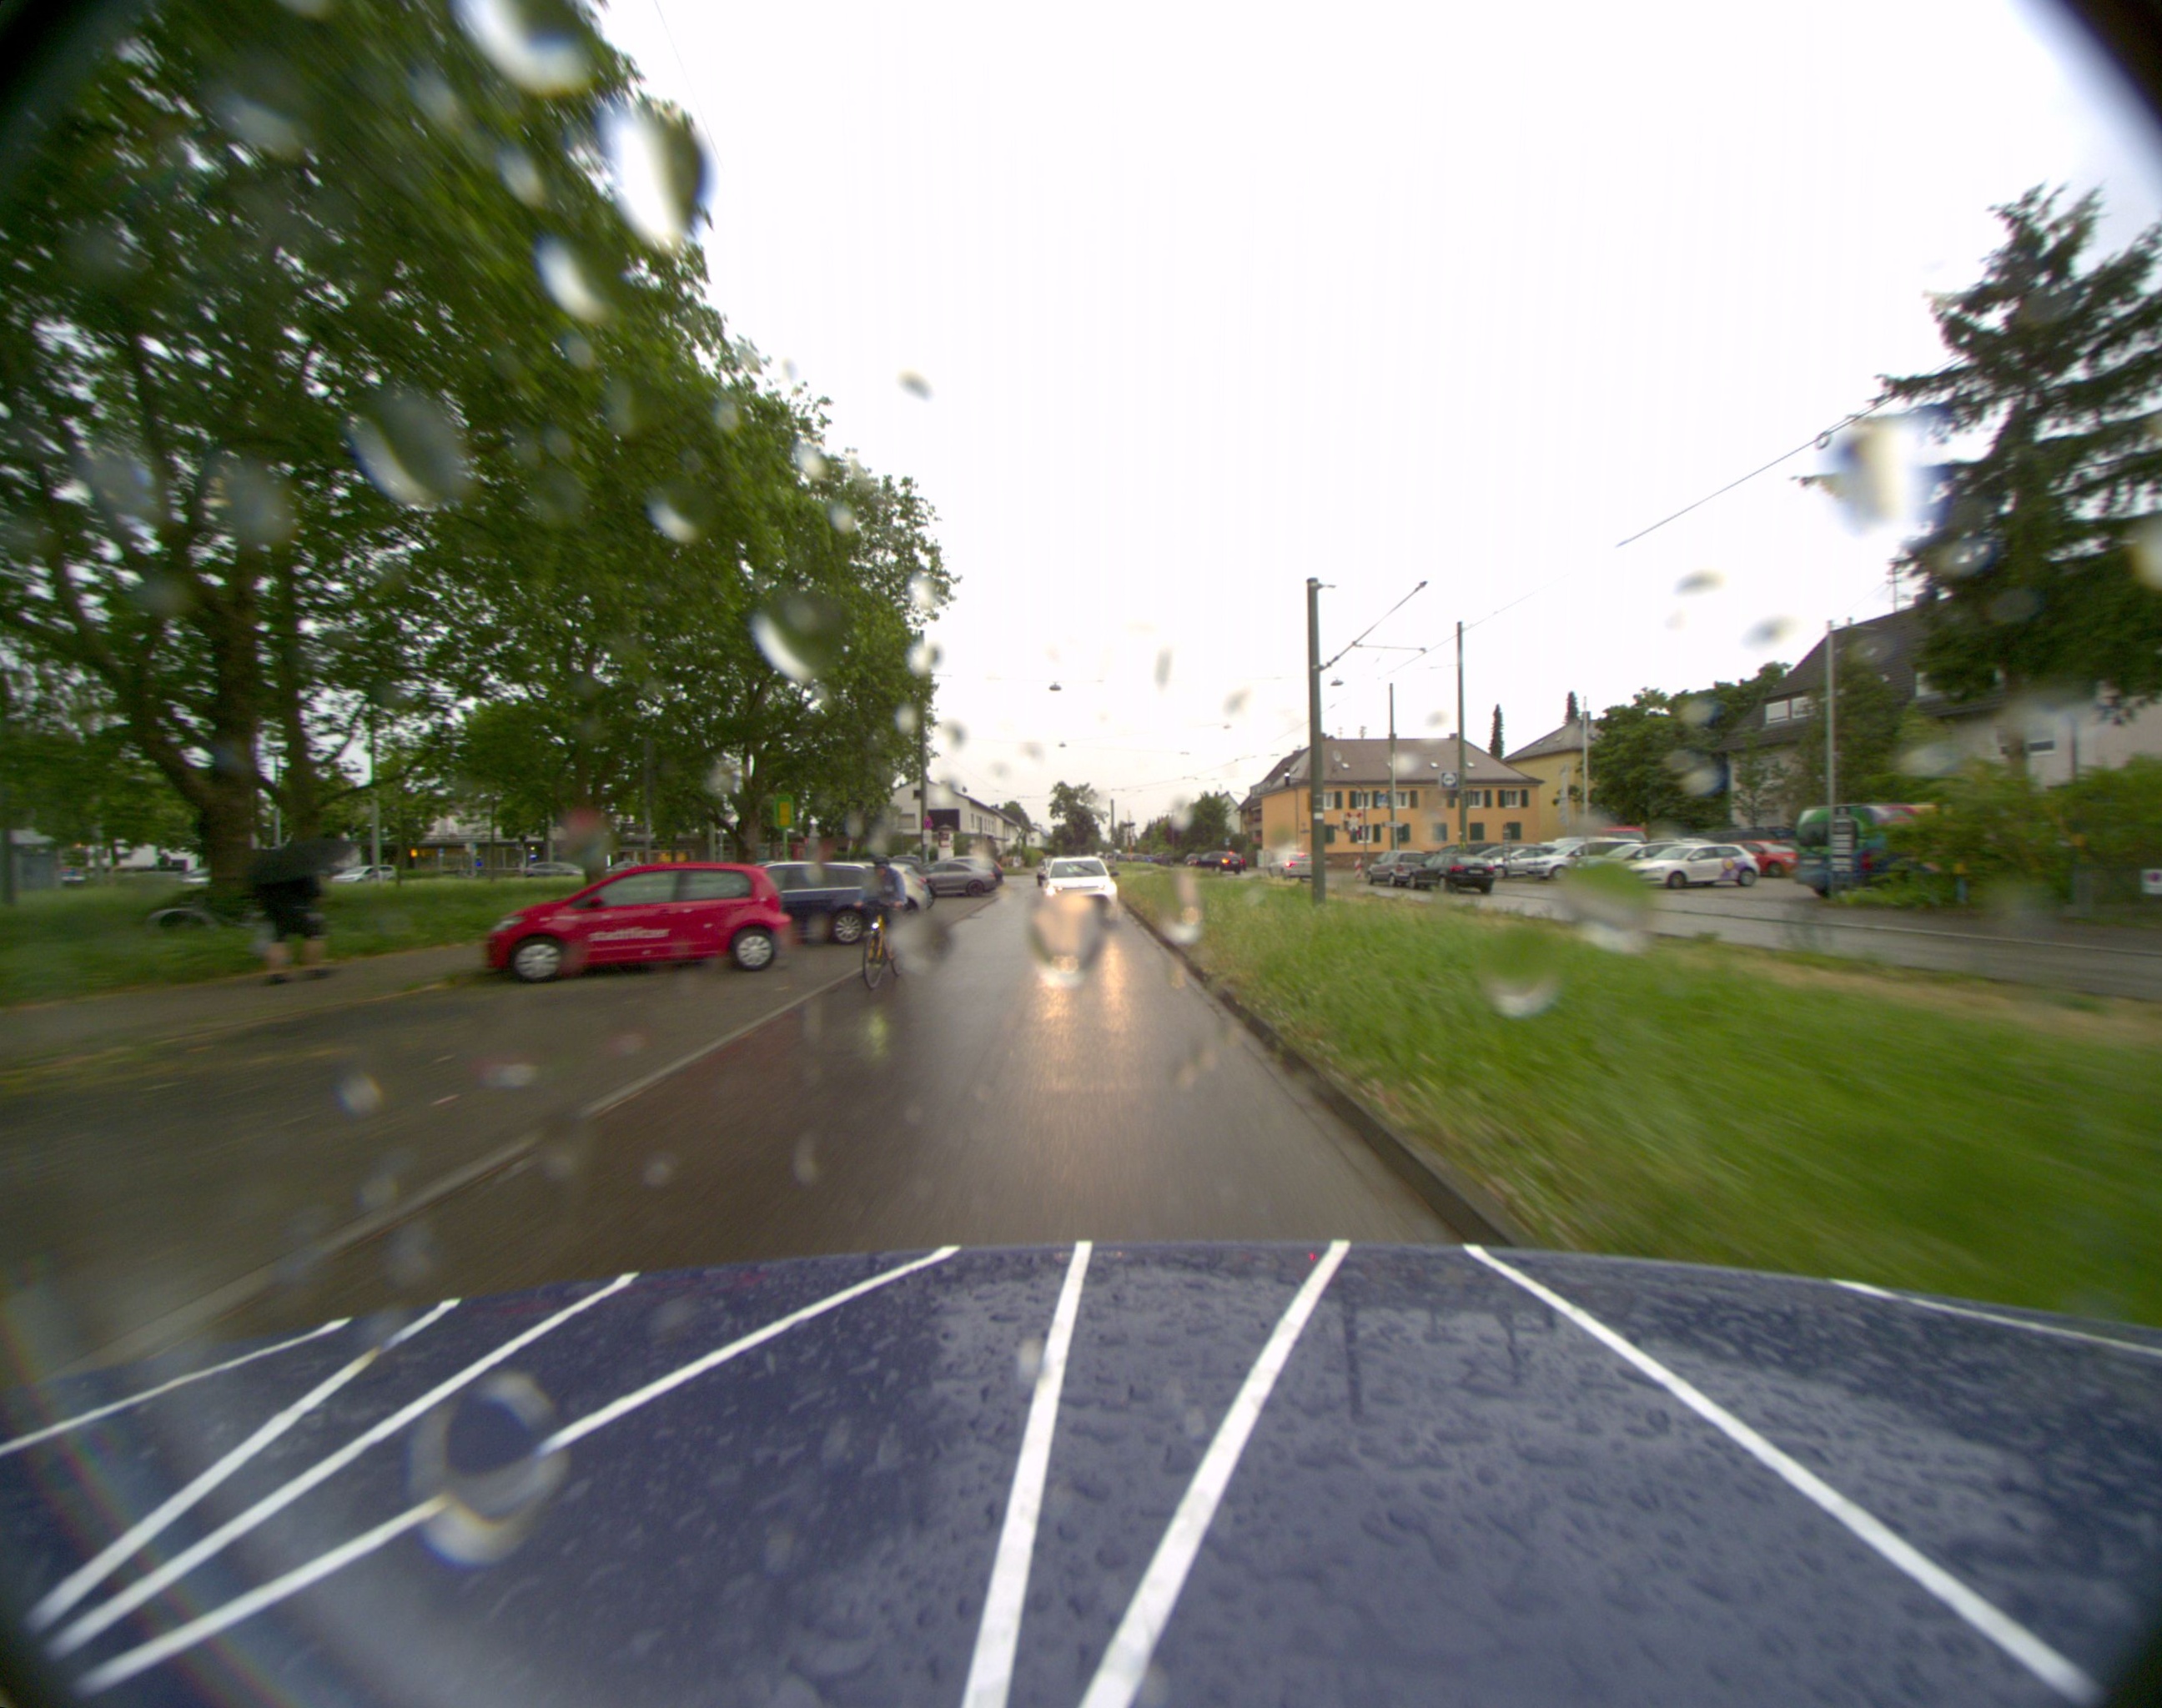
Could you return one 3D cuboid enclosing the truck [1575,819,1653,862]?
[{"bbox_3d":[29.671,-0.708,42.554,1.995,2.259,6.112,0,0,19],"label":"truck"}]

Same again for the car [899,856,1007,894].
[{"bbox_3d":[-5.509,0.872,32.814,4.184,1.467,1.800,-1,0,-30],"label":"car"}]

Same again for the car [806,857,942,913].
[{"bbox_3d":[-6.196,0.879,22.854,3.524,1.497,1.749,1,1,-36],"label":"car"}]

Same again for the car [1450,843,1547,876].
[{"bbox_3d":[20.420,0.251,37.303,4.047,1.496,1.836,0,3,28],"label":"car"}]

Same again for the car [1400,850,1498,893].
[{"bbox_3d":[13.953,0.603,29.084,1.721,1.331,4.387,-1,2,2],"label":"car"}]

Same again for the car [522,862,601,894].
[{"bbox_3d":[-36.224,1.656,53.047,3.997,2.003,1.999,-1,3,1],"label":"car"}]

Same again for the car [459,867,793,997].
[{"bbox_3d":[-5.913,0.938,10.291,3.604,1.471,1.634,1,0,-27],"label":"car"}]

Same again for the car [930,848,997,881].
[{"bbox_3d":[-7.913,0.659,51.263,3.990,2.003,2.002,1,4,23],"label":"car"}]

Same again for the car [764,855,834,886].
[{"bbox_3d":[-19.588,1.145,52.928,3.997,2.003,1.999,-1,3,1],"label":"car"}]

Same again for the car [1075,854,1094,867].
[{"bbox_3d":[0.485,0.788,97.283,1.787,1.454,4.001,0,2,10],"label":"car"}]

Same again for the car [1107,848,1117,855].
[{"bbox_3d":[7.893,-0.681,193.437,1.999,1.784,3.997,-1,2,-2],"label":"car"}]

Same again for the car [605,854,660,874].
[{"bbox_3d":[-37.334,0.852,63.371,3.625,1.495,1.549,-2,3,-17],"label":"car"}]

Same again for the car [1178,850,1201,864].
[{"bbox_3d":[11.608,0.280,81.516,1.759,1.325,3.997,-1,2,-3],"label":"car"}]

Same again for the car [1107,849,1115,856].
[{"bbox_3d":[8.640,-0.456,218.076,1.999,1.784,3.997,-1,2,-2],"label":"car"}]

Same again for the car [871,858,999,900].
[{"bbox_3d":[-5.698,0.924,29.819,4.556,1.467,1.800,-1,0,-29],"label":"car"}]

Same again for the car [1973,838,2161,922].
[{"bbox_3d":[21.017,0.503,15.051,1.999,1.555,3.896,-1,-3,-1],"label":"car"}]

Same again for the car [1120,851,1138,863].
[{"bbox_3d":[6.423,0.385,102.369,1.999,1.467,3.999,-1,0,-2],"label":"car"}]

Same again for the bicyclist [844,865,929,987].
[{"bbox_3d":[-2.467,0.886,9.707,0.752,1.476,0.847,-1,0,9],"label":"bicyclist"}]

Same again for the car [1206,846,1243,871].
[{"bbox_3d":[9.516,0.275,50.665,1.741,1.478,3.998,-1,2,1],"label":"car"}]

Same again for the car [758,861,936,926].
[{"bbox_3d":[-6.061,0.997,19.909,4.009,1.492,1.819,2,0,-40],"label":"car"}]

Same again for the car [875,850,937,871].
[{"bbox_3d":[-14.490,0.509,62.958,4.567,1.597,2.000,-1,3,5],"label":"car"}]

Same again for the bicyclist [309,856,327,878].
[{"bbox_3d":[-53.437,0.889,53.225,0.726,1.508,0.697,-3,2,-39],"label":"bicyclist"}]

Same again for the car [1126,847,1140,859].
[{"bbox_3d":[8.608,-0.179,125.735,1.999,1.784,3.997,-1,2,-2],"label":"car"}]

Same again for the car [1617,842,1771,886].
[{"bbox_3d":[21.109,0.323,26.294,3.838,1.388,1.722,-1,3,3],"label":"car"}]

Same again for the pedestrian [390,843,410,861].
[{"bbox_3d":[-66.823,-0.191,74.595,0.946,1.704,1.081,0,1,12],"label":"pedestrian"}]

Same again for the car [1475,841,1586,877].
[{"bbox_3d":[20.439,0.213,34.747,4.050,1.496,1.835,0,3,17],"label":"car"}]

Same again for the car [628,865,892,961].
[{"bbox_3d":[-5.729,0.957,13.700,4.130,1.471,1.861,1,0,-32],"label":"car"}]

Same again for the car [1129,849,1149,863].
[{"bbox_3d":[8.177,0.202,107.197,2.000,1.784,3.996,-1,2,-7],"label":"car"}]

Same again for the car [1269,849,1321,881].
[{"bbox_3d":[10.856,0.528,38.856,1.605,1.416,3.818,-1,2,0],"label":"car"}]

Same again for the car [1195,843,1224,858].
[{"bbox_3d":[12.668,-0.362,75.193,1.966,1.388,4.503,-1,1,-2],"label":"car"}]

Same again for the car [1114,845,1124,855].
[{"bbox_3d":[8.660,-0.856,171.944,1.998,2.023,3.998,-1,2,0],"label":"car"}]

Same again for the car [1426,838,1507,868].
[{"bbox_3d":[21.631,-0.045,42.662,3.861,1.569,1.811,-1,0,32],"label":"car"}]

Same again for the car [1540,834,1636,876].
[{"bbox_3d":[25.390,0.034,38.272,1.998,2.002,4.447,0,0,2],"label":"car"}]

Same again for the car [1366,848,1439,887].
[{"bbox_3d":[14.042,0.541,33.387,1.721,1.496,3.642,-1,2,2],"label":"car"}]

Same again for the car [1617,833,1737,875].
[{"bbox_3d":[25.376,-0.003,32.594,1.759,1.677,4.447,0,0,2],"label":"car"}]

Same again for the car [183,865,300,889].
[{"bbox_3d":[-53.358,1.458,48.446,1.998,1.449,4.844,-1,-1,2],"label":"car"}]

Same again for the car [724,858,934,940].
[{"bbox_3d":[-5.560,0.906,16.976,4.008,1.544,1.955,0,2,-39],"label":"car"}]

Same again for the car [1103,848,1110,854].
[{"bbox_3d":[7.881,-0.836,237.697,1.999,1.784,3.997,-1,2,-2],"label":"car"}]

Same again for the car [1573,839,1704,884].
[{"bbox_3d":[20.962,0.273,28.682,3.613,1.564,1.722,-1,3,3],"label":"car"}]

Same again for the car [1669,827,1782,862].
[{"bbox_3d":[32.311,-0.441,38.285,1.998,1.677,4.447,0,0,2],"label":"car"}]

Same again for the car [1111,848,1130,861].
[{"bbox_3d":[4.933,0.049,94.568,1.999,1.467,3.999,-1,0,-2],"label":"car"}]

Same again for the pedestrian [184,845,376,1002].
[{"bbox_3d":[-9.193,0.747,8.789,1.047,1.704,1.080,0,1,0],"label":"pedestrian"}]

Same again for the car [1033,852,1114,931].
[{"bbox_3d":[-0.137,0.826,18.576,1.719,1.614,3.714,-3,1,1],"label":"car"}]

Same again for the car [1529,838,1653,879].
[{"bbox_3d":[21.060,0.198,31.518,3.866,1.569,1.809,-1,0,8],"label":"car"}]

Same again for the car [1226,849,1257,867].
[{"bbox_3d":[13.970,0.329,66.317,1.722,1.331,3.614,-1,2,-3],"label":"car"}]

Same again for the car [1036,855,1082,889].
[{"bbox_3d":[-1.200,0.895,39.201,1.963,1.544,3.996,1,1,-7],"label":"car"}]

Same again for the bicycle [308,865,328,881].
[{"bbox_3d":[-53.403,1.323,53.202,0.730,1.123,1.749,-3,2,-39],"label":"bicycle"}]

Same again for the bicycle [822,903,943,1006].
[{"bbox_3d":[-2.464,1.217,9.695,0.754,1.066,1.928,-1,-1,9],"label":"bicycle"}]

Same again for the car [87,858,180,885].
[{"bbox_3d":[-77.983,1.416,62.657,1.897,1.932,4.548,-1,2,0],"label":"car"}]

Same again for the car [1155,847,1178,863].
[{"bbox_3d":[10.681,0.085,95.152,2.000,1.784,3.995,-1,2,-8],"label":"car"}]

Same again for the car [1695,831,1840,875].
[{"bbox_3d":[27.940,-0.027,31.145,1.998,1.677,4.447,0,0,2],"label":"car"}]

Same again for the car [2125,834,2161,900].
[{"bbox_3d":[26.344,0.209,16.463,1.999,1.555,3.896,-1,-3,-1],"label":"car"}]

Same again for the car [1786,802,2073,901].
[{"bbox_3d":[22.196,-0.104,20.066,5.145,2.393,2.151,-1,3,-1],"label":"car"}]
